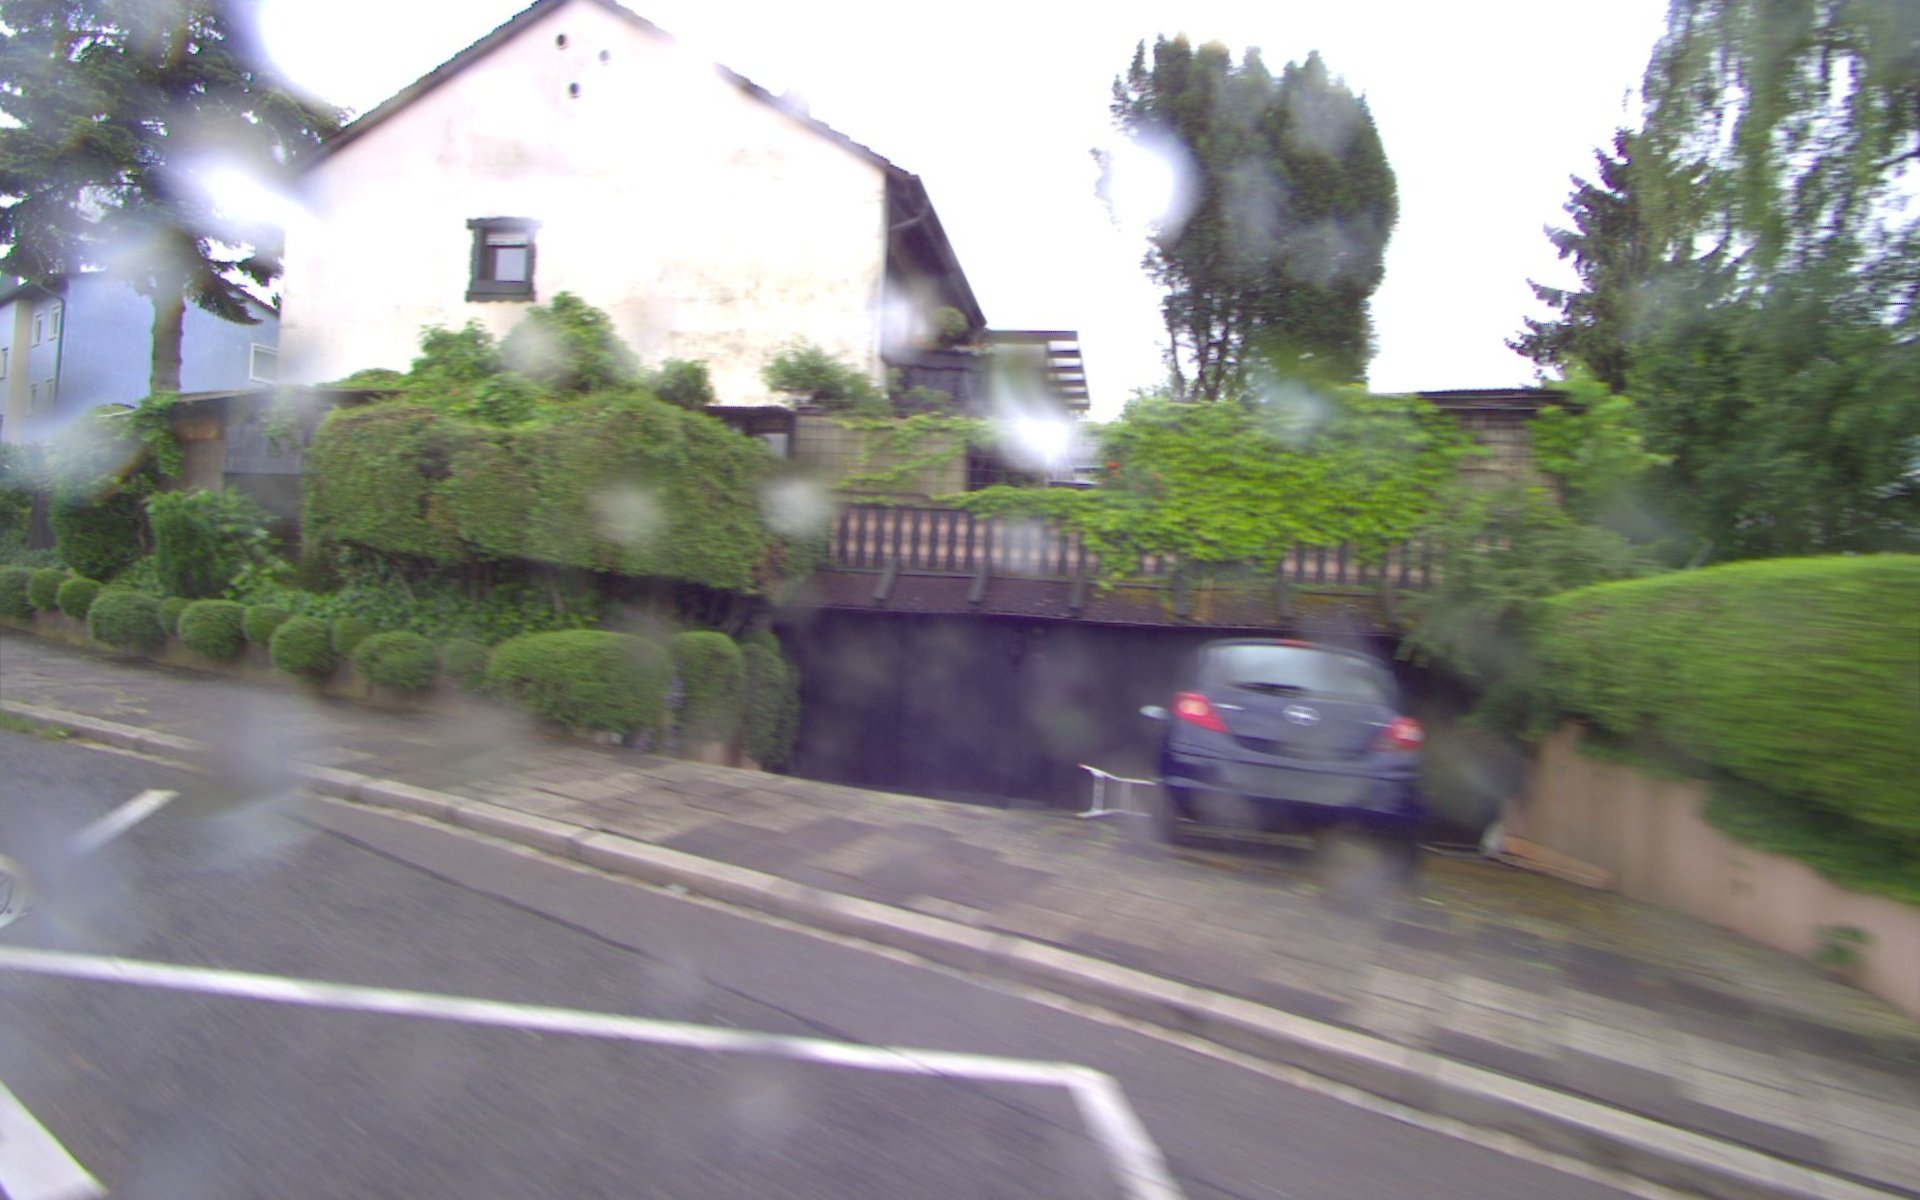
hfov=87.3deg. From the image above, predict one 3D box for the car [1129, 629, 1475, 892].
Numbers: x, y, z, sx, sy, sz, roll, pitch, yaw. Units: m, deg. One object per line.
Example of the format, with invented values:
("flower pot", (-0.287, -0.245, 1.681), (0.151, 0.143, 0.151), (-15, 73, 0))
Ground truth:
("car", (2.300, 1.175, 7.723), (1.738, 1.310, 3.722), (6, -7, 9))
